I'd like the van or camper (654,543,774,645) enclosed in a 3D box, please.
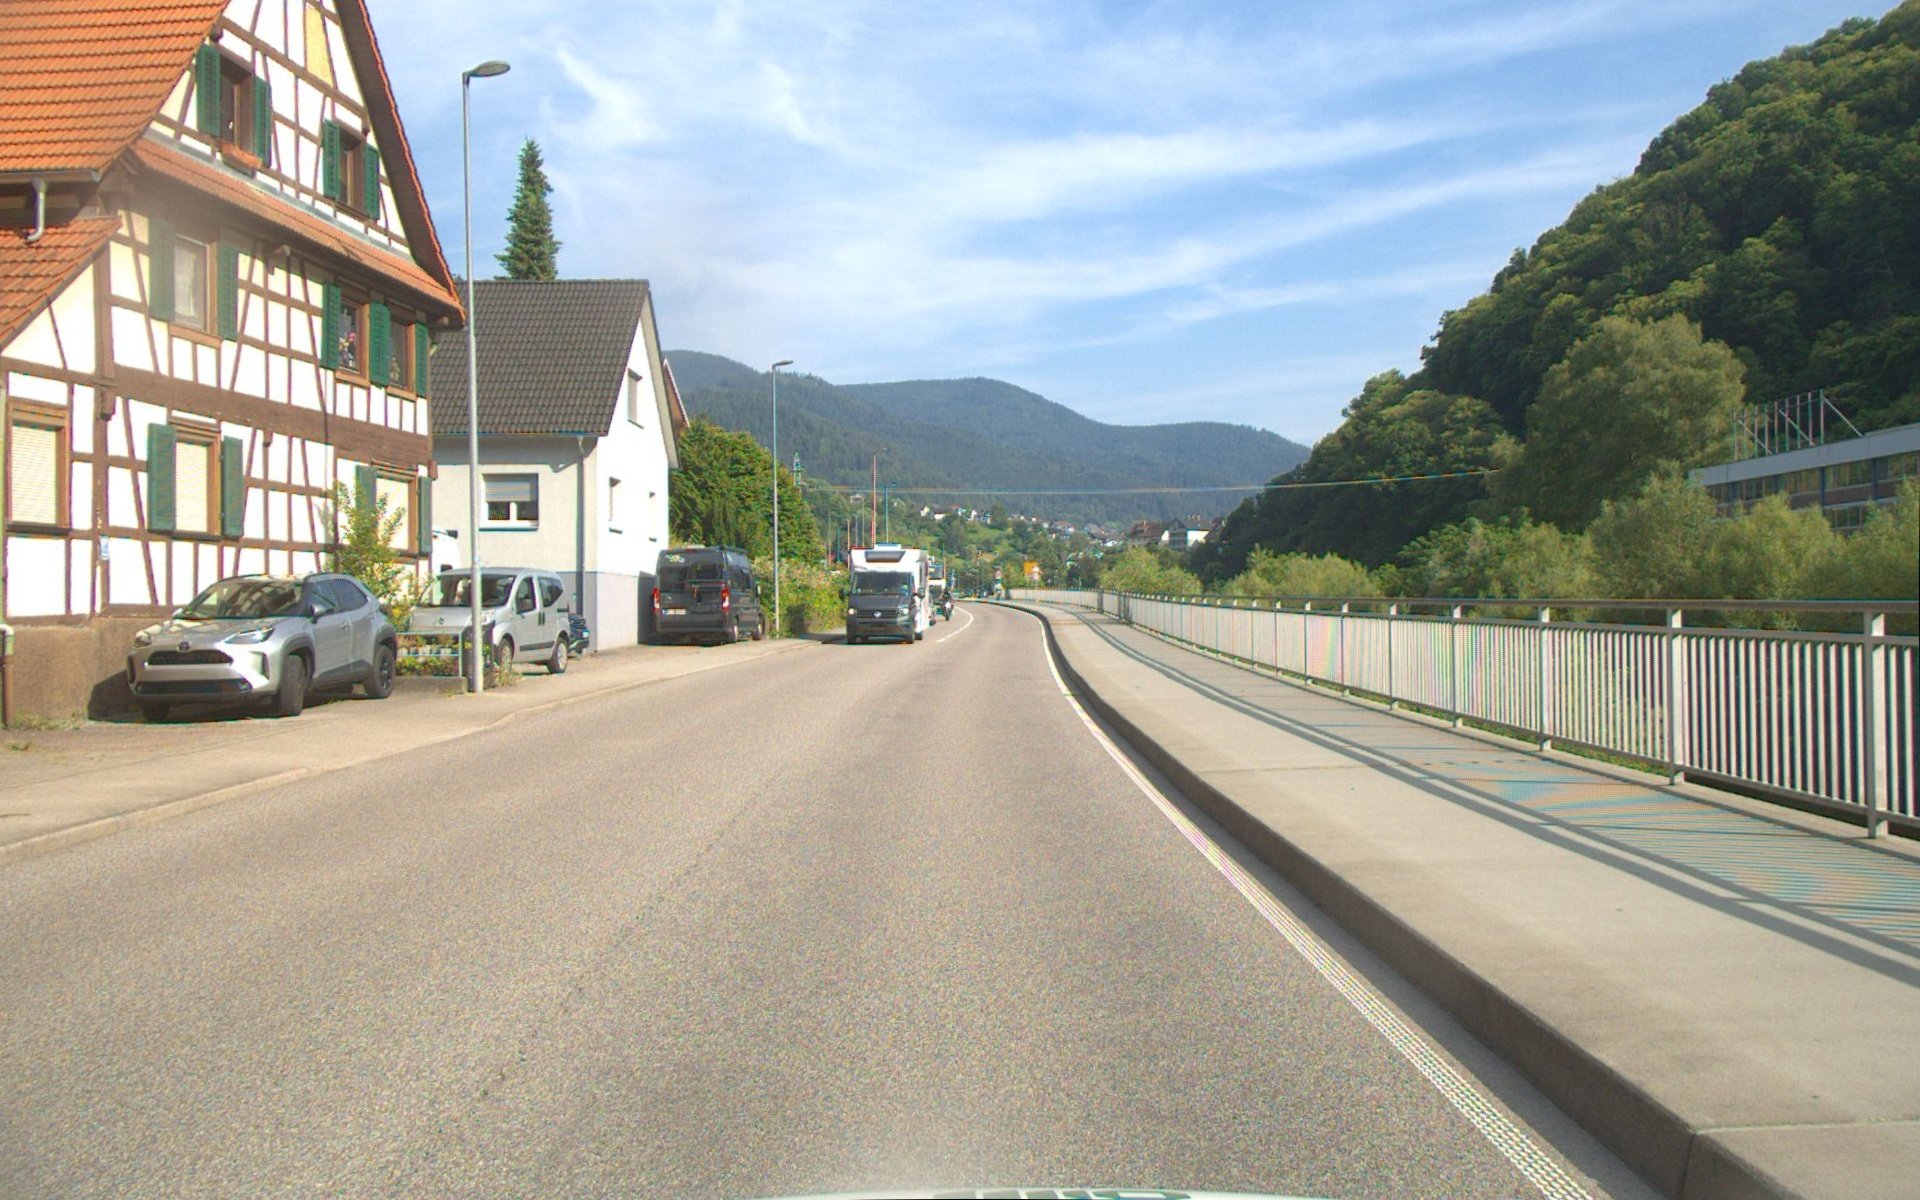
[{"bbox_3d":[-6.638,-0.169,45.282,2.103,2.600,5.904,0,0,3],"label":"van or camper"}]

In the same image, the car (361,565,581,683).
[{"bbox_3d":[-7.595,0.346,26.144,1.860,1.693,4.270,1,0,5],"label":"car"}]

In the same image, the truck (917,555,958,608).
[{"bbox_3d":[-1.862,-1.428,130.887,2.527,4.000,11.295,-1,0,-4],"label":"truck"}]

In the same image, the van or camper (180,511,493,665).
[{"bbox_3d":[-11.737,-0.240,31.301,5.065,2.710,2.194,1,0,9],"label":"van or camper"}]

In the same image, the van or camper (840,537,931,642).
[{"bbox_3d":[-2.222,-0.333,51.331,2.149,2.990,7.129,1,0,3],"label":"van or camper"}]

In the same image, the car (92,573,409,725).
[{"bbox_3d":[-8.089,0.493,19.302,1.845,1.545,4.095,-1,0,1],"label":"car"}]

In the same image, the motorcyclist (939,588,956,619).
[{"bbox_3d":[-0.649,0.178,84.109,0.808,1.585,0.628,-1,0,5],"label":"motorcyclist"}]

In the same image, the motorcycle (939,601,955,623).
[{"bbox_3d":[-0.662,0.621,84.633,0.640,1.086,2.183,-1,0,5],"label":"motorcycle"}]

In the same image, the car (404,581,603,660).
[{"bbox_3d":[-10.128,0.437,36.874,3.837,1.577,1.907,2,0,1],"label":"car"}]

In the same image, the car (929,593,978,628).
[{"bbox_3d":[-0.262,0.463,75.305,1.595,1.511,4.003,1,0,9],"label":"car"}]
